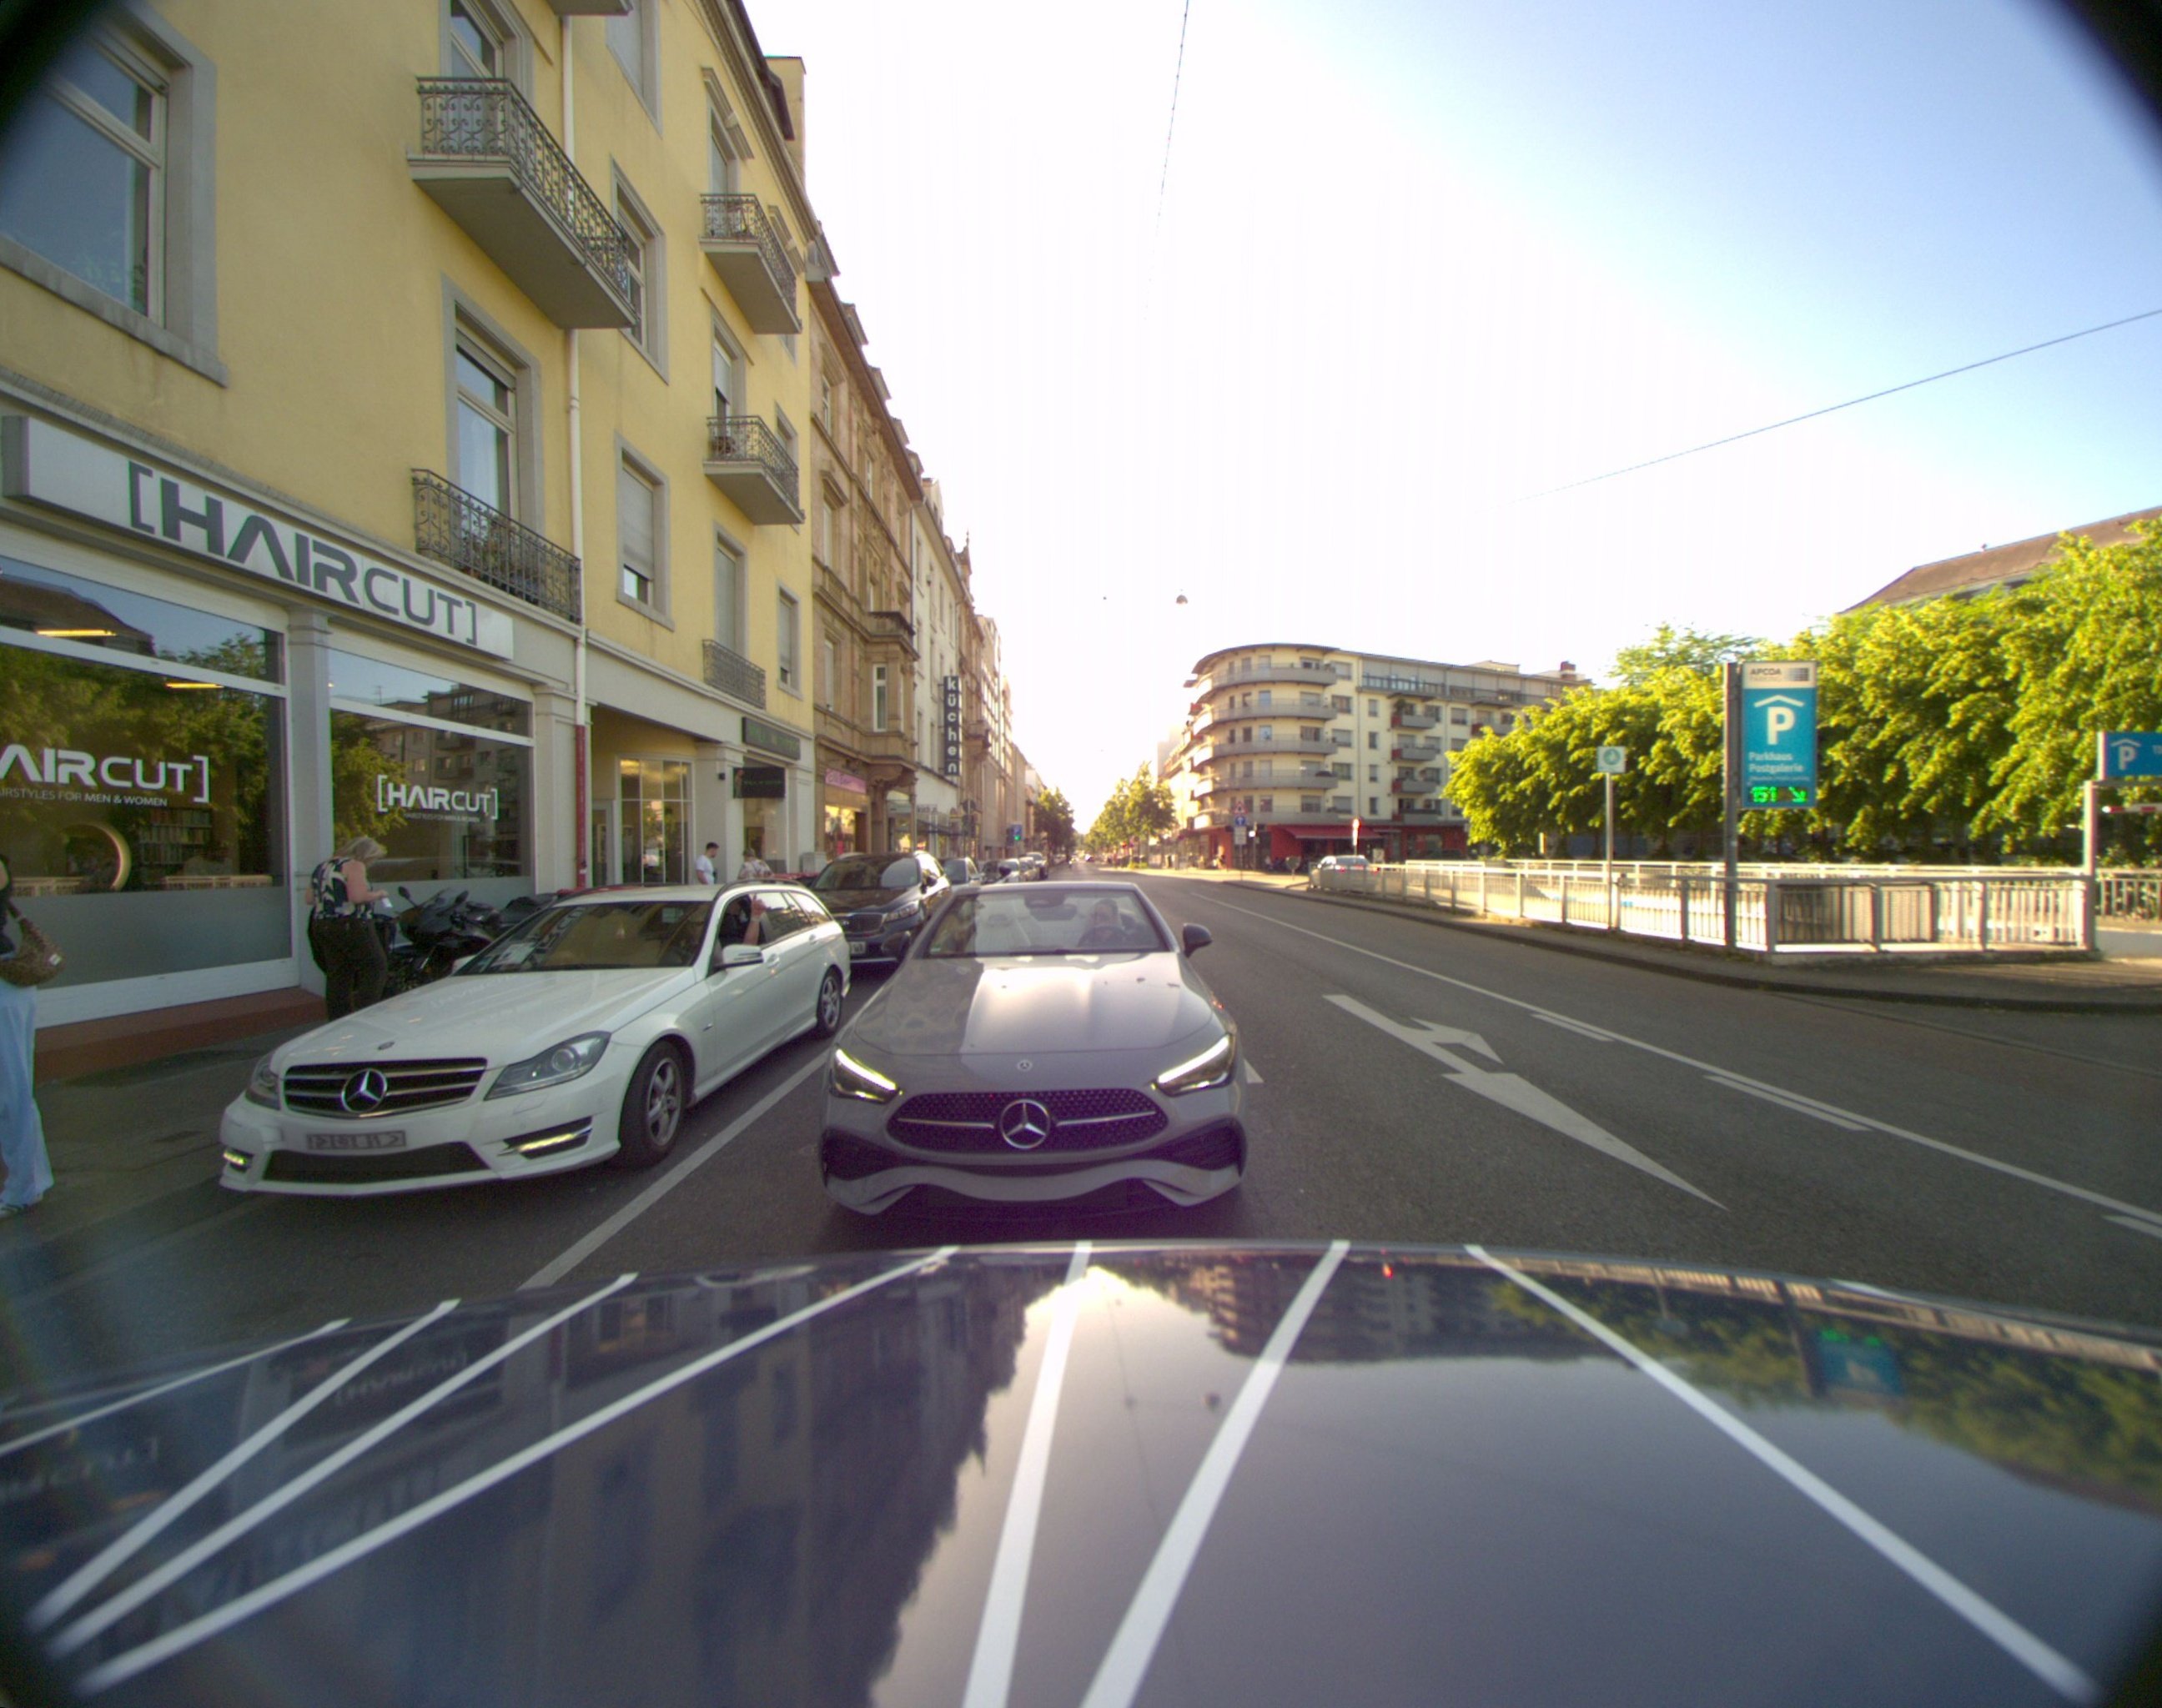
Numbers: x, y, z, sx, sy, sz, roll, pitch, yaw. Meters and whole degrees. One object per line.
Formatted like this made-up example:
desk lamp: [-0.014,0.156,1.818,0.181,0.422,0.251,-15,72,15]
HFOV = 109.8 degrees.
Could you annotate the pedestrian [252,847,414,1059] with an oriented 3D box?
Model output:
pedestrian: [-6.088,0.769,6.217,0.719,1.644,0.606,1,1,1]

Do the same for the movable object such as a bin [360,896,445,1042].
movable object such as a bin: [-5.994,0.999,6.725,0.391,1.231,0.394,1,1,1]

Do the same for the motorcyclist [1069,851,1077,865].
motorcyclist: [-0.867,0.393,81.877,0.722,1.438,0.705,-2,1,1]

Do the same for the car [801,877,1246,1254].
car: [-0.210,0.948,5.166,1.802,1.351,3.999,-2,1,1]

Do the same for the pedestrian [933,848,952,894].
pedestrian: [-5.780,0.701,31.652,0.574,1.840,0.665,-2,1,1]

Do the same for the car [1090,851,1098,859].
car: [2.695,0.273,154.786,1.615,1.534,3.931,-1,0,1]

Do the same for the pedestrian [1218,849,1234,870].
pedestrian: [11.531,0.453,60.539,0.863,1.586,0.887,-3,1,-38]

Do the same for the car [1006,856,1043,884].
car: [-2.998,0.842,40.928,1.725,1.332,3.668,-2,1,-1]

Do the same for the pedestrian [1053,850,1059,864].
pedestrian: [-3.585,0.413,109.866,0.792,1.920,0.952,-1,1,-1]

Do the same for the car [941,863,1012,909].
car: [-3.416,1.017,25.525,1.802,1.259,4.085,-2,1,-1]

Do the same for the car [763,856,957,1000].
car: [-3.022,0.899,11.362,1.803,1.629,4.243,-2,1,-3]

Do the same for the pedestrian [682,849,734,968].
pedestrian: [-6.385,0.912,13.021,0.373,1.971,0.695,0,1,23]

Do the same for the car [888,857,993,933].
car: [-3.286,0.902,18.565,1.802,1.518,4.085,-2,1,-1]

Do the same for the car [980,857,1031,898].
car: [-2.988,0.880,30.739,1.660,1.423,4.085,-2,1,-1]

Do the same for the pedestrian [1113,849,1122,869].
pedestrian: [3.715,0.516,77.375,0.860,2.002,0.889,-2,1,1]

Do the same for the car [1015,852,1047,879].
car: [-3.059,0.689,47.533,1.725,1.506,4.004,-2,1,-1]

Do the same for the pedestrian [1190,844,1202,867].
pedestrian: [10.297,0.167,67.912,0.860,2.002,0.889,-2,1,0]

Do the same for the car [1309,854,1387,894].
car: [10.547,0.746,30.333,1.823,1.346,4.265,1,1,3]

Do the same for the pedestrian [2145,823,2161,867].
pedestrian: [42.178,-0.348,29.604,0.647,1.711,0.608,-2,1,-9]

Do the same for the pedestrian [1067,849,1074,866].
pedestrian: [-1.347,0.444,95.658,0.792,2.002,0.889,-2,1,1]

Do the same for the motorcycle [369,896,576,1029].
motorcycle: [-6.215,1.045,7.927,0.567,1.072,1.954,2,1,1]

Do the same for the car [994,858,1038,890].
car: [-3.103,0.937,36.753,1.802,1.332,3.838,-2,1,-1]

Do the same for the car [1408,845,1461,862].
car: [29.057,-0.071,62.440,4.004,1.294,1.753,-2,1,-23]

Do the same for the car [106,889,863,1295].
car: [-3.056,1.078,5.282,1.704,1.351,4.378,-2,1,1]

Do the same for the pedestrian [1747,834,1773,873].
pedestrian: [30.441,-0.033,34.055,0.647,1.711,0.607,-3,1,-19]

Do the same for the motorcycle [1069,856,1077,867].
motorcycle: [-0.857,0.813,81.872,0.720,1.177,1.906,-2,1,1]

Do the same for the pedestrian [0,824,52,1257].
pedestrian: [-4.557,0.722,2.911,0.657,1.655,0.649,-1,1,39]

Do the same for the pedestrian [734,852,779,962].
pedestrian: [-5.681,0.903,13.296,0.576,1.840,0.663,-3,1,-30]
